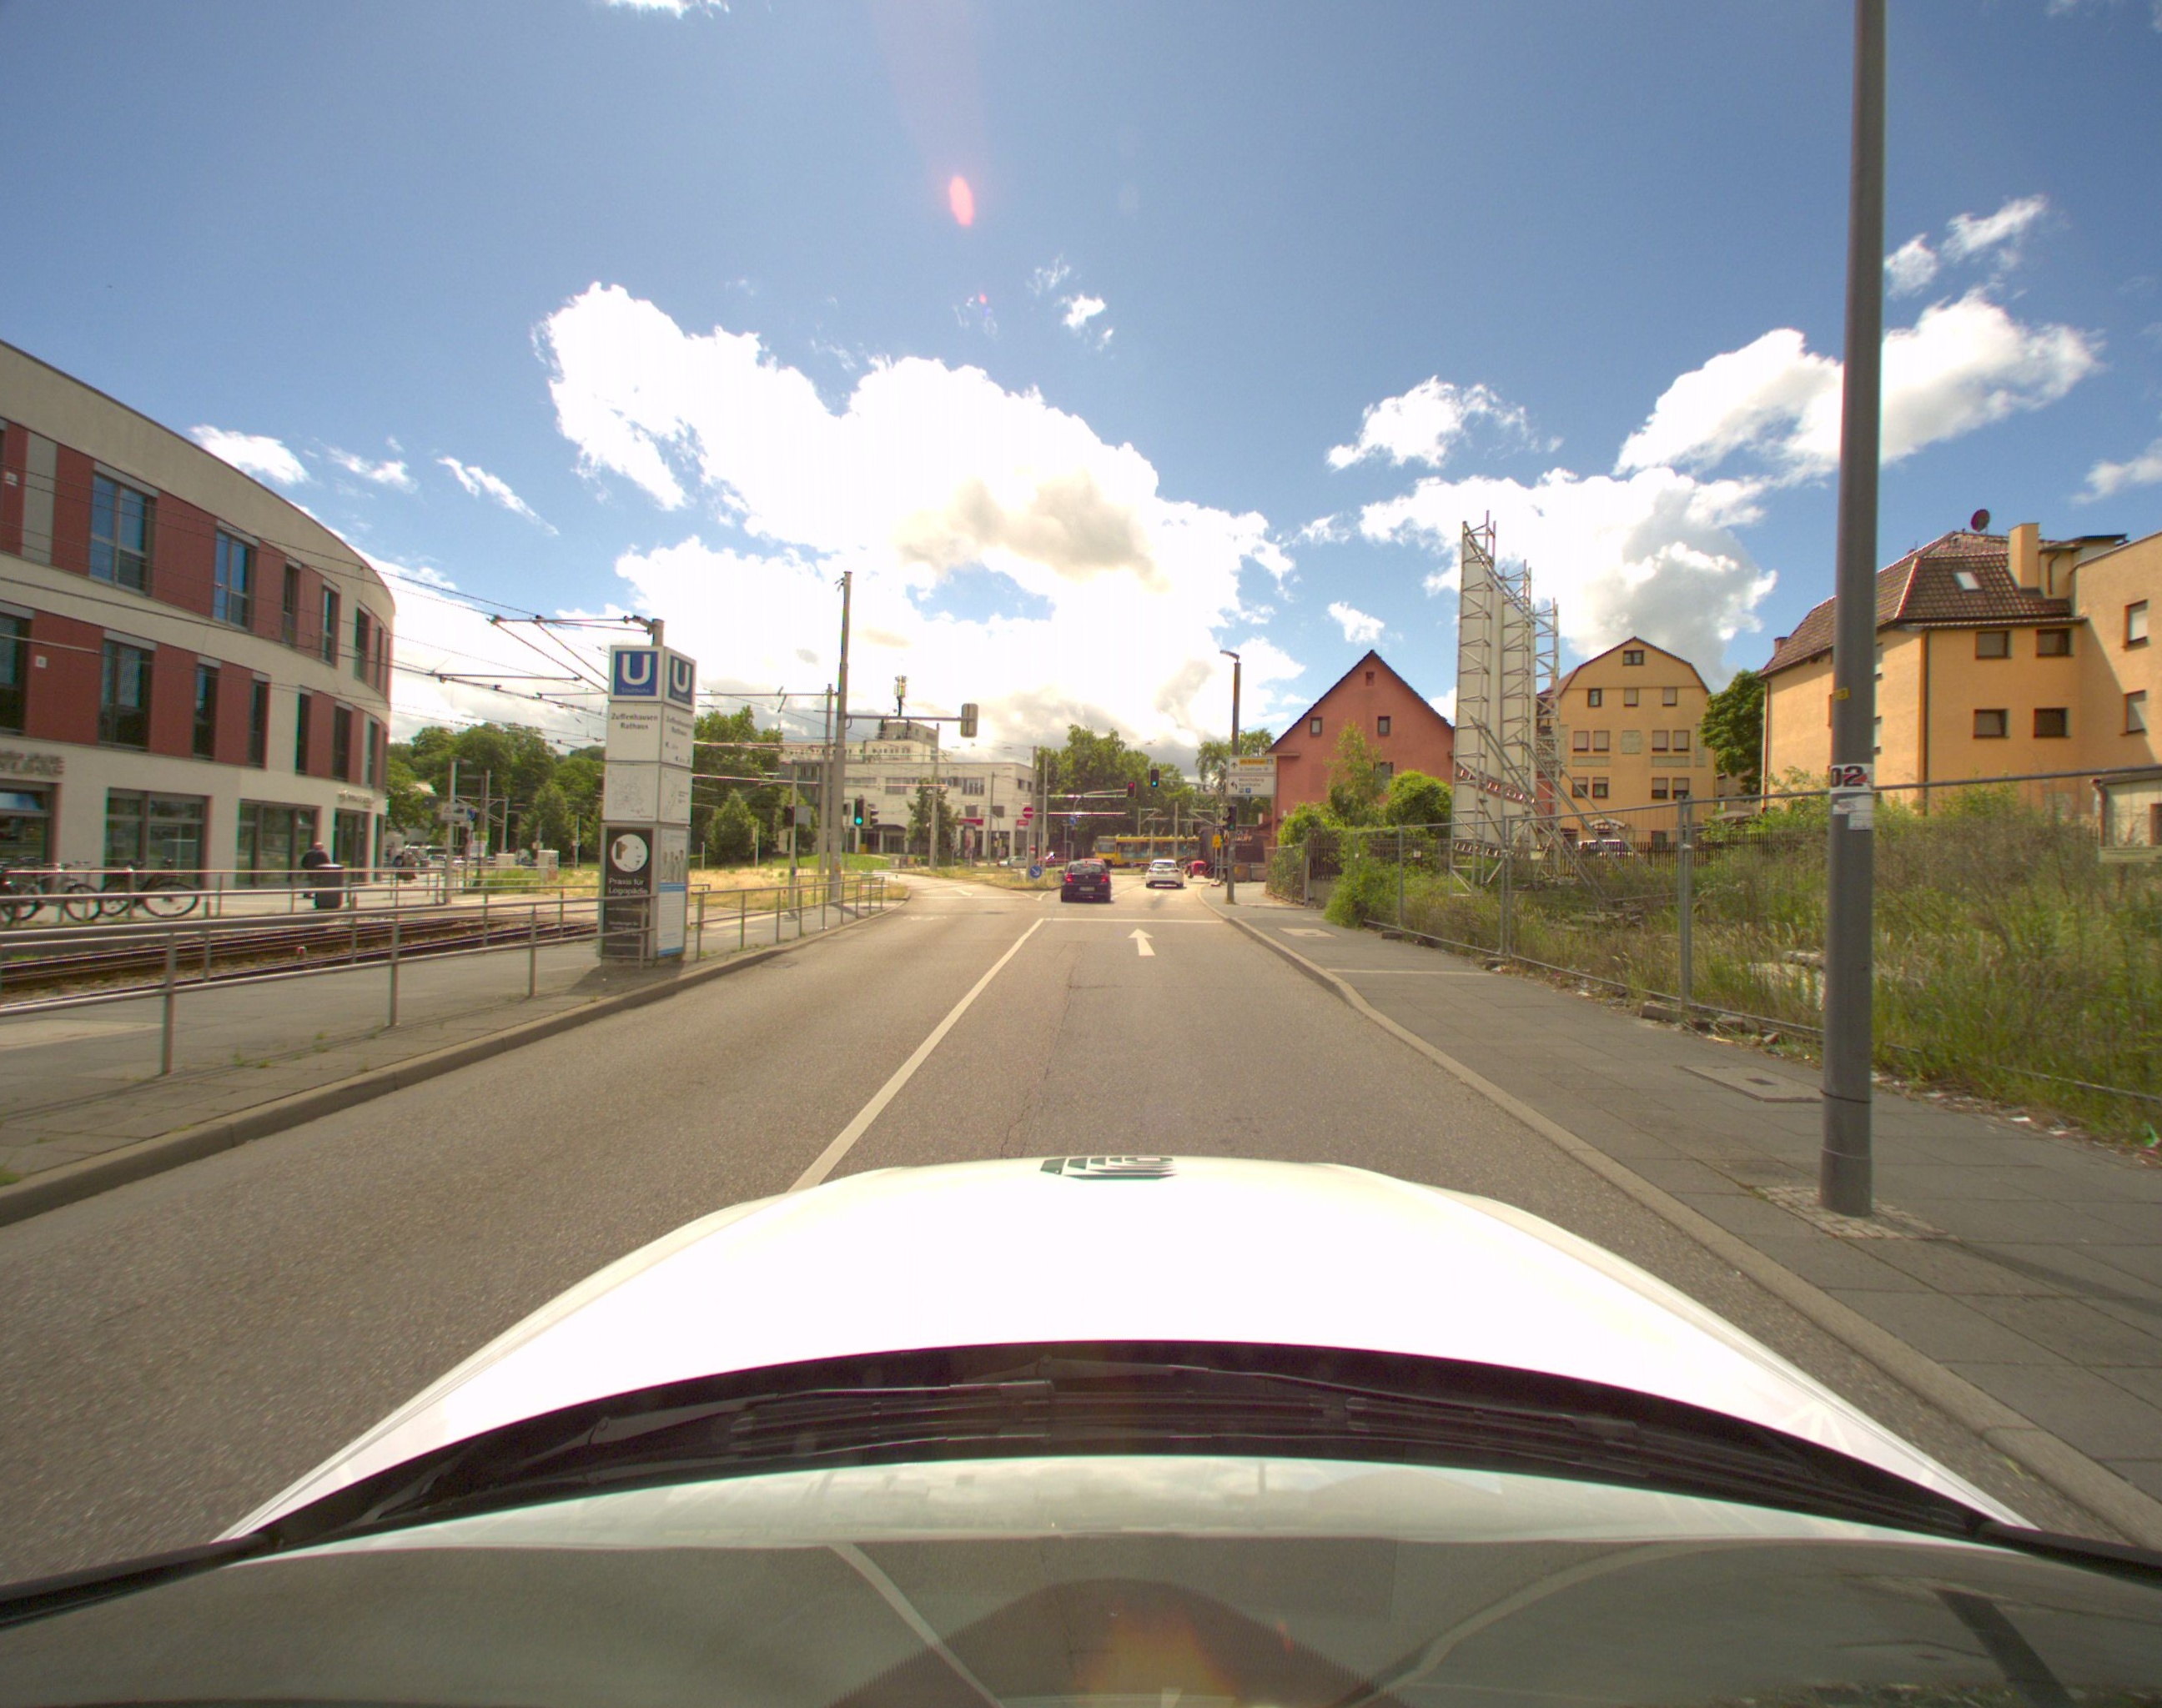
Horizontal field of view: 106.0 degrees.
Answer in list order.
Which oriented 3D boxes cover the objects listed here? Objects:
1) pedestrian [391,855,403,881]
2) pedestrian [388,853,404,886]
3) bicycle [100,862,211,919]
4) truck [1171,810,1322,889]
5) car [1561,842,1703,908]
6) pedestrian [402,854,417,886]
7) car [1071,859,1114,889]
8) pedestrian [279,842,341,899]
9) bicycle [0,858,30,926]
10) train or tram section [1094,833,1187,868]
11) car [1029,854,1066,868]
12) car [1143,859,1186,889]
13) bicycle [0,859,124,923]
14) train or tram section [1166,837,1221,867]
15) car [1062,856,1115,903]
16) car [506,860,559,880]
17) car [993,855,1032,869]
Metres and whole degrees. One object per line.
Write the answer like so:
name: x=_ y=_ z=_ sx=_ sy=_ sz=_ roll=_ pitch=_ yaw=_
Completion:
pedestrian: x=-42.057 y=0.861 z=50.053 sx=0.471 sy=1.531 sz=0.401 roll=5 pitch=-3 yaw=-42
pedestrian: x=-32.792 y=0.733 z=38.991 sx=0.471 sy=1.531 sz=0.453 roll=5 pitch=-3 yaw=-43
bicycle: x=-18.160 y=0.715 z=15.993 sx=1.560 sy=1.101 sz=0.515 roll=0 pitch=-2 yaw=1
truck: x=10.746 y=-0.208 z=53.047 sx=9.008 sy=4.536 sz=3.199 roll=3 pitch=-2 yaw=-13
car: x=10.195 y=0.348 z=15.217 sx=1.068 sy=1.121 sz=2.447 roll=-1 pitch=0 yaw=2
pedestrian: x=-32.429 y=0.762 z=39.329 sx=0.471 sy=1.531 sz=0.401 roll=5 pitch=-3 yaw=-43
car: x=0.619 y=0.980 z=40.957 sx=1.703 sy=1.393 sz=3.816 roll=1 pitch=0 yaw=7
pedestrian: x=-22.037 y=0.477 z=23.300 sx=0.852 sy=1.572 sz=0.857 roll=4 pitch=-2 yaw=-13
bicycle: x=-18.379 y=0.626 z=13.407 sx=1.502 sy=1.101 sz=0.493 roll=0 pitch=-2 yaw=1
train or tram section: x=7.496 y=-0.323 z=96.444 sx=2.671 sy=3.750 sz=18.475 roll=2 pitch=1 yaw=32
car: x=-4.010 y=0.823 z=96.773 sx=1.975 sy=1.600 sz=4.224 roll=1 pitch=0 yaw=43
car: x=4.435 y=1.041 z=42.816 sx=1.876 sy=1.465 sz=4.081 roll=1 pitch=-1 yaw=11
bicycle: x=-18.077 y=0.658 z=14.457 sx=1.560 sy=1.101 sz=0.515 roll=0 pitch=-2 yaw=1
train or tram section: x=15.811 y=-0.260 z=112.605 sx=2.673 sy=3.750 sz=18.461 roll=2 pitch=1 yaw=23
car: x=0.205 y=0.848 z=28.706 sx=1.722 sy=1.456 sz=3.806 roll=1 pitch=0 yaw=-2
car: x=-55.604 y=1.595 z=82.519 sx=4.174 sy=1.768 sz=2.007 roll=3 pitch=-2 yaw=13
car: x=-7.664 y=0.940 z=91.531 sx=1.975 sy=1.464 sz=4.023 roll=1 pitch=-1 yaw=43
